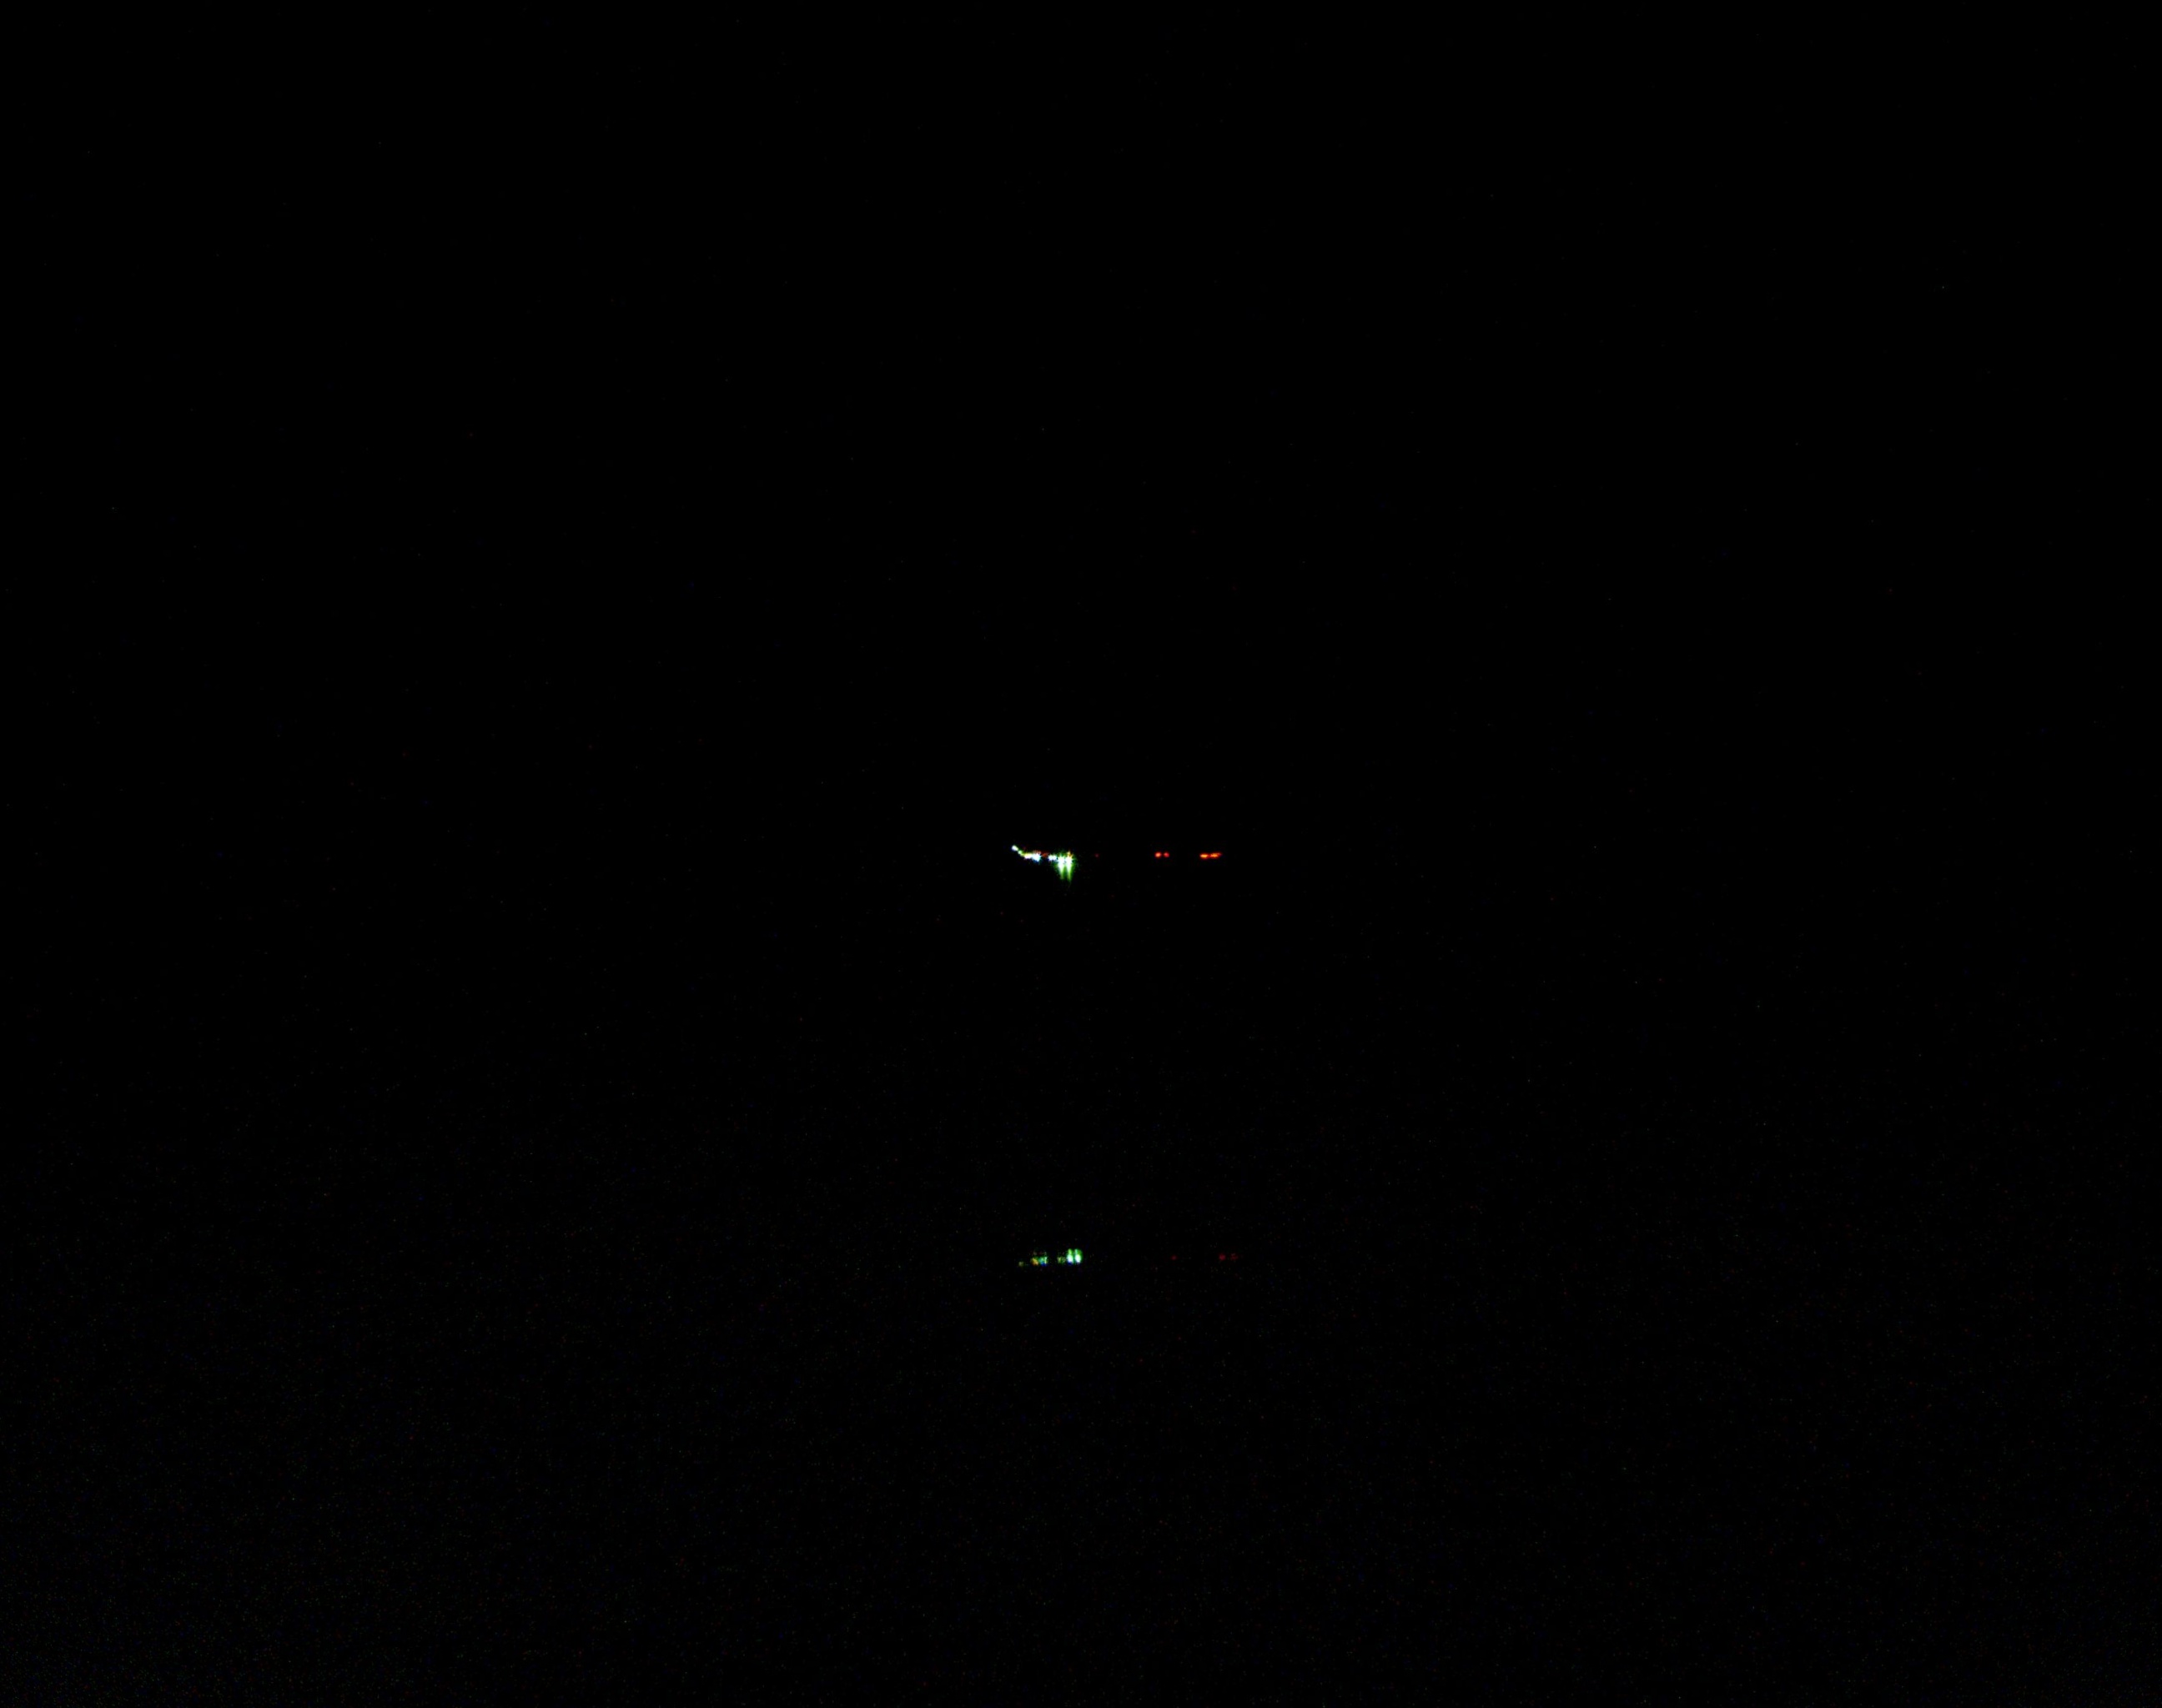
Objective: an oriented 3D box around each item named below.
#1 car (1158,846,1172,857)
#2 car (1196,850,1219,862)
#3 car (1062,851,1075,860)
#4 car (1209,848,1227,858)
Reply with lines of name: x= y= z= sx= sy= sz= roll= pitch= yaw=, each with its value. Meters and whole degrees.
car: x=15.207 y=-0.464 z=138.157 sx=1.998 sy=1.780 sz=4.679 roll=-2 pitch=1 yaw=1
car: x=17.059 y=0.253 z=102.673 sx=1.999 sy=1.471 sz=4.928 roll=-2 pitch=1 yaw=-2
car: x=-2.207 y=0.316 z=137.651 sx=2.155 sy=1.558 sz=4.580 roll=-2 pitch=1 yaw=-3
car: x=21.650 y=-0.160 z=120.353 sx=1.998 sy=1.499 sz=4.400 roll=-2 pitch=1 yaw=0
